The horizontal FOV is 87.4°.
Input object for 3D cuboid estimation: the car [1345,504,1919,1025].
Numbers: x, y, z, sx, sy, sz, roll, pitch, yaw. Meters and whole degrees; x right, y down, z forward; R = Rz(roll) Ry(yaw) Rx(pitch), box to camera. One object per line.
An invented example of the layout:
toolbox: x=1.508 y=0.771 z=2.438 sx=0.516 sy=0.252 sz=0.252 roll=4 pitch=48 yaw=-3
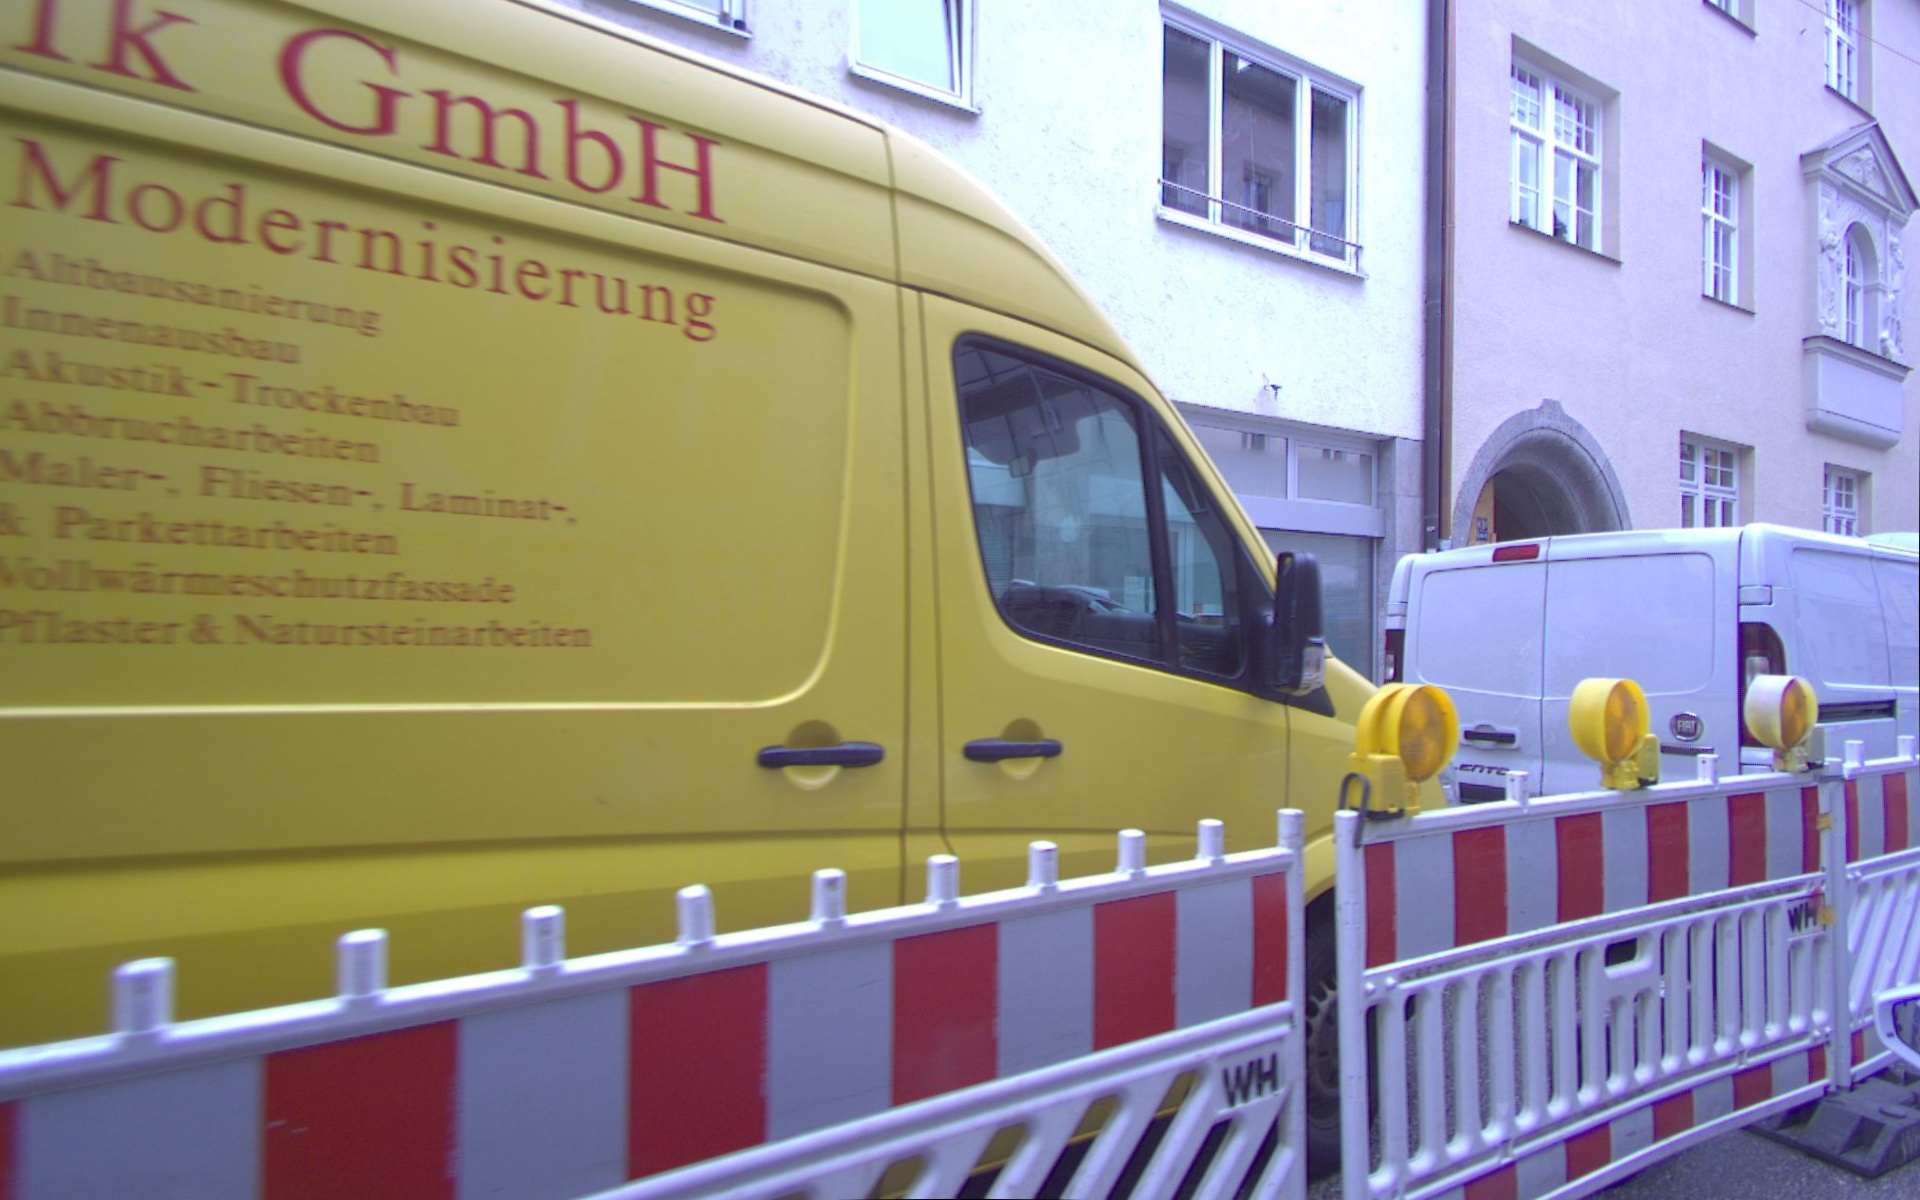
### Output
car: x=4.557 y=0.699 z=5.818 sx=4.738 sy=1.922 sz=1.907 roll=2 pitch=-3 yaw=-32

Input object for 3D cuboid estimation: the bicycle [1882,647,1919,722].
bicycle: x=14.399 y=1.261 z=15.176 sx=1.438 sy=1.065 sz=0.302 roll=1 pitch=1 yaw=-32

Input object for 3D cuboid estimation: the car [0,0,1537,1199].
car: x=-1.675 y=0.152 z=1.984 sx=6.661 sy=2.613 sz=1.983 roll=1 pitch=-2 yaw=-32
